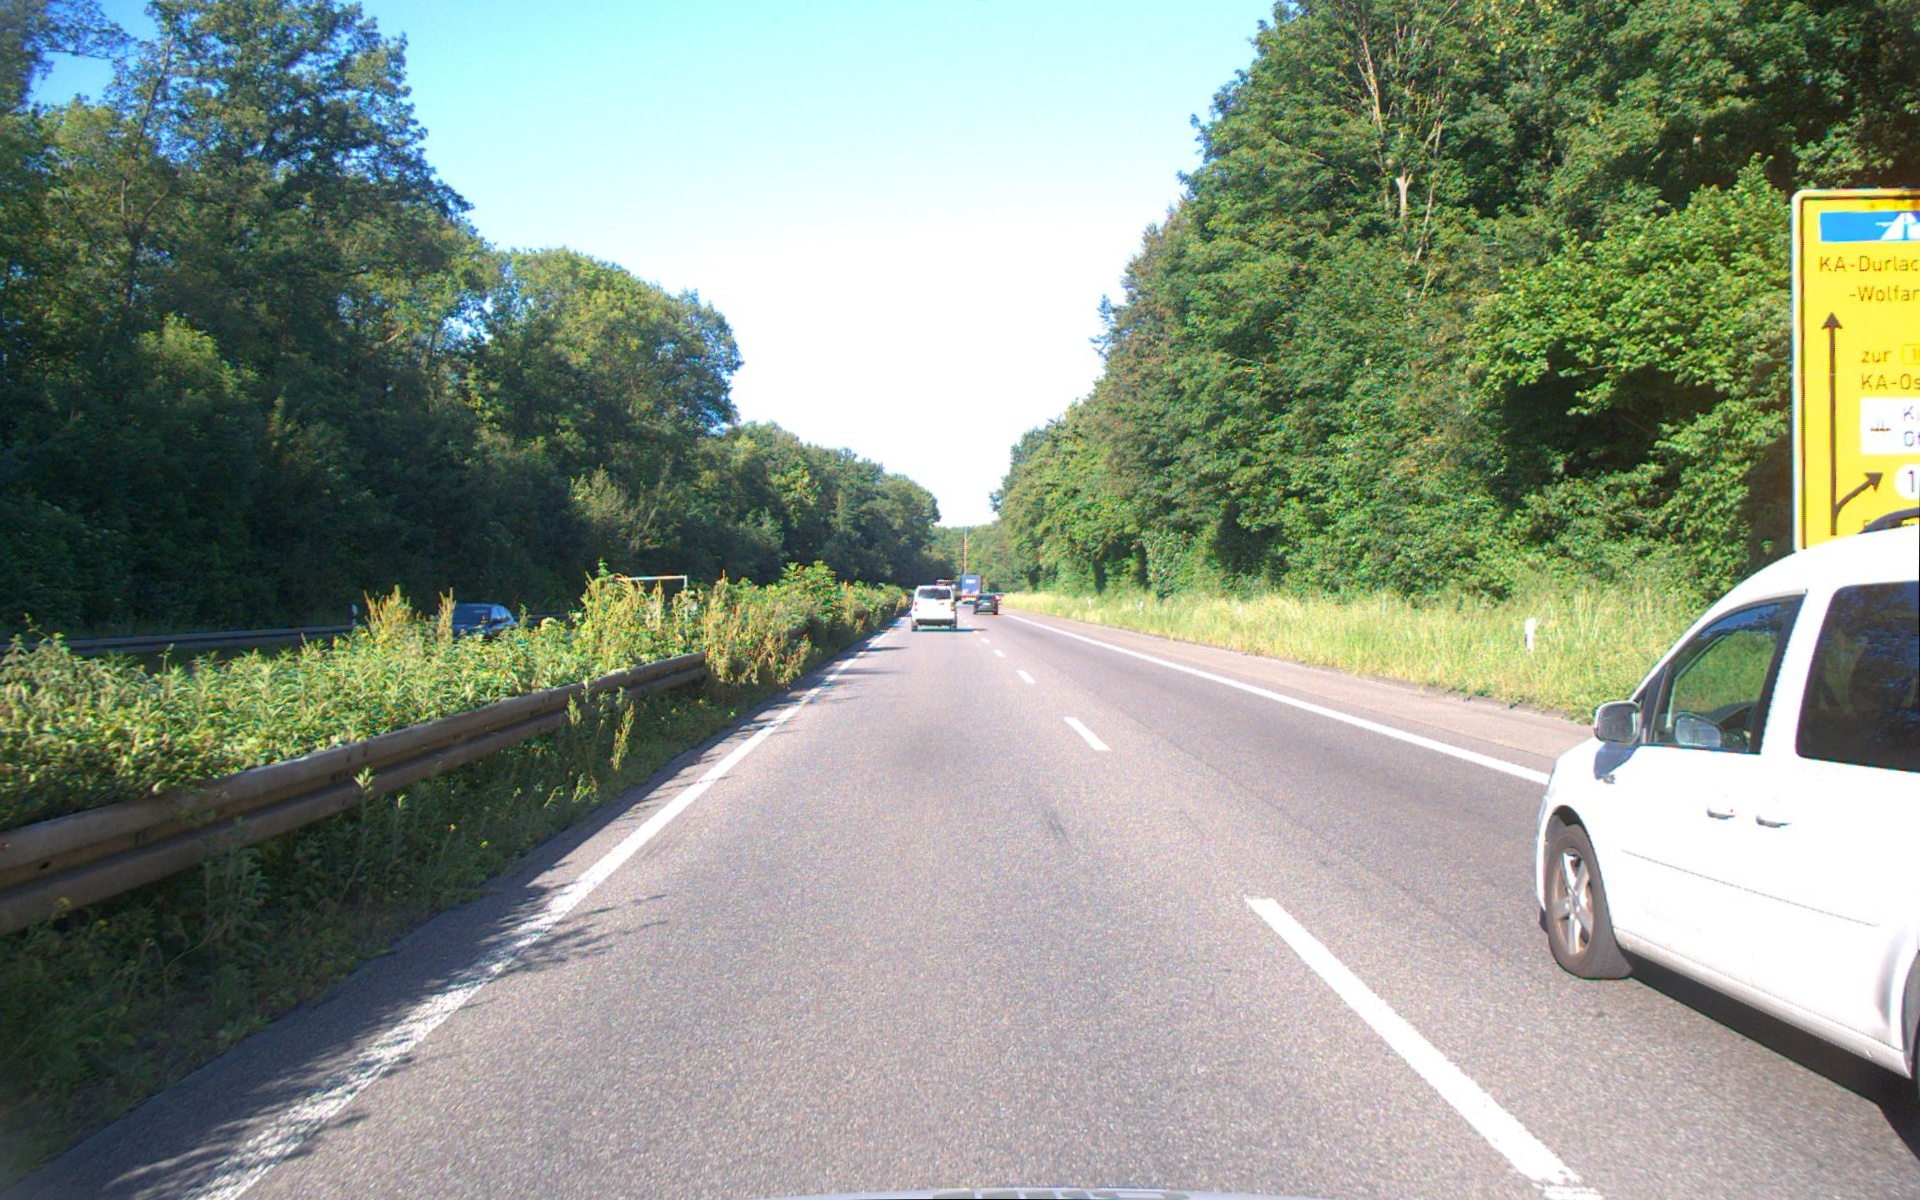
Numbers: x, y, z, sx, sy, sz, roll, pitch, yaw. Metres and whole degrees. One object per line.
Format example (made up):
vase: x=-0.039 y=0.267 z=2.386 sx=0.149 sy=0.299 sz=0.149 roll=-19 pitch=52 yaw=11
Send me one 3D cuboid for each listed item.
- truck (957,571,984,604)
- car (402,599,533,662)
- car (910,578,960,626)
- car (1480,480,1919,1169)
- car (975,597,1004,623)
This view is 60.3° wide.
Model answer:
truck: x=1.416 y=-1.702 z=233.018 sx=3.658 sy=4.419 sz=9.303 roll=1 pitch=0 yaw=-1
car: x=-12.226 y=0.736 z=41.368 sx=1.953 sy=1.448 sz=4.508 roll=1 pitch=0 yaw=-1
car: x=-1.017 y=0.082 z=66.639 sx=1.912 sy=1.813 sz=4.586 roll=1 pitch=0 yaw=-1
car: x=3.434 y=0.617 z=5.664 sx=1.762 sy=1.844 sz=4.586 roll=1 pitch=0 yaw=-1
car: x=2.118 y=0.721 z=120.598 sx=1.912 sy=1.813 sz=4.586 roll=1 pitch=0 yaw=-1
